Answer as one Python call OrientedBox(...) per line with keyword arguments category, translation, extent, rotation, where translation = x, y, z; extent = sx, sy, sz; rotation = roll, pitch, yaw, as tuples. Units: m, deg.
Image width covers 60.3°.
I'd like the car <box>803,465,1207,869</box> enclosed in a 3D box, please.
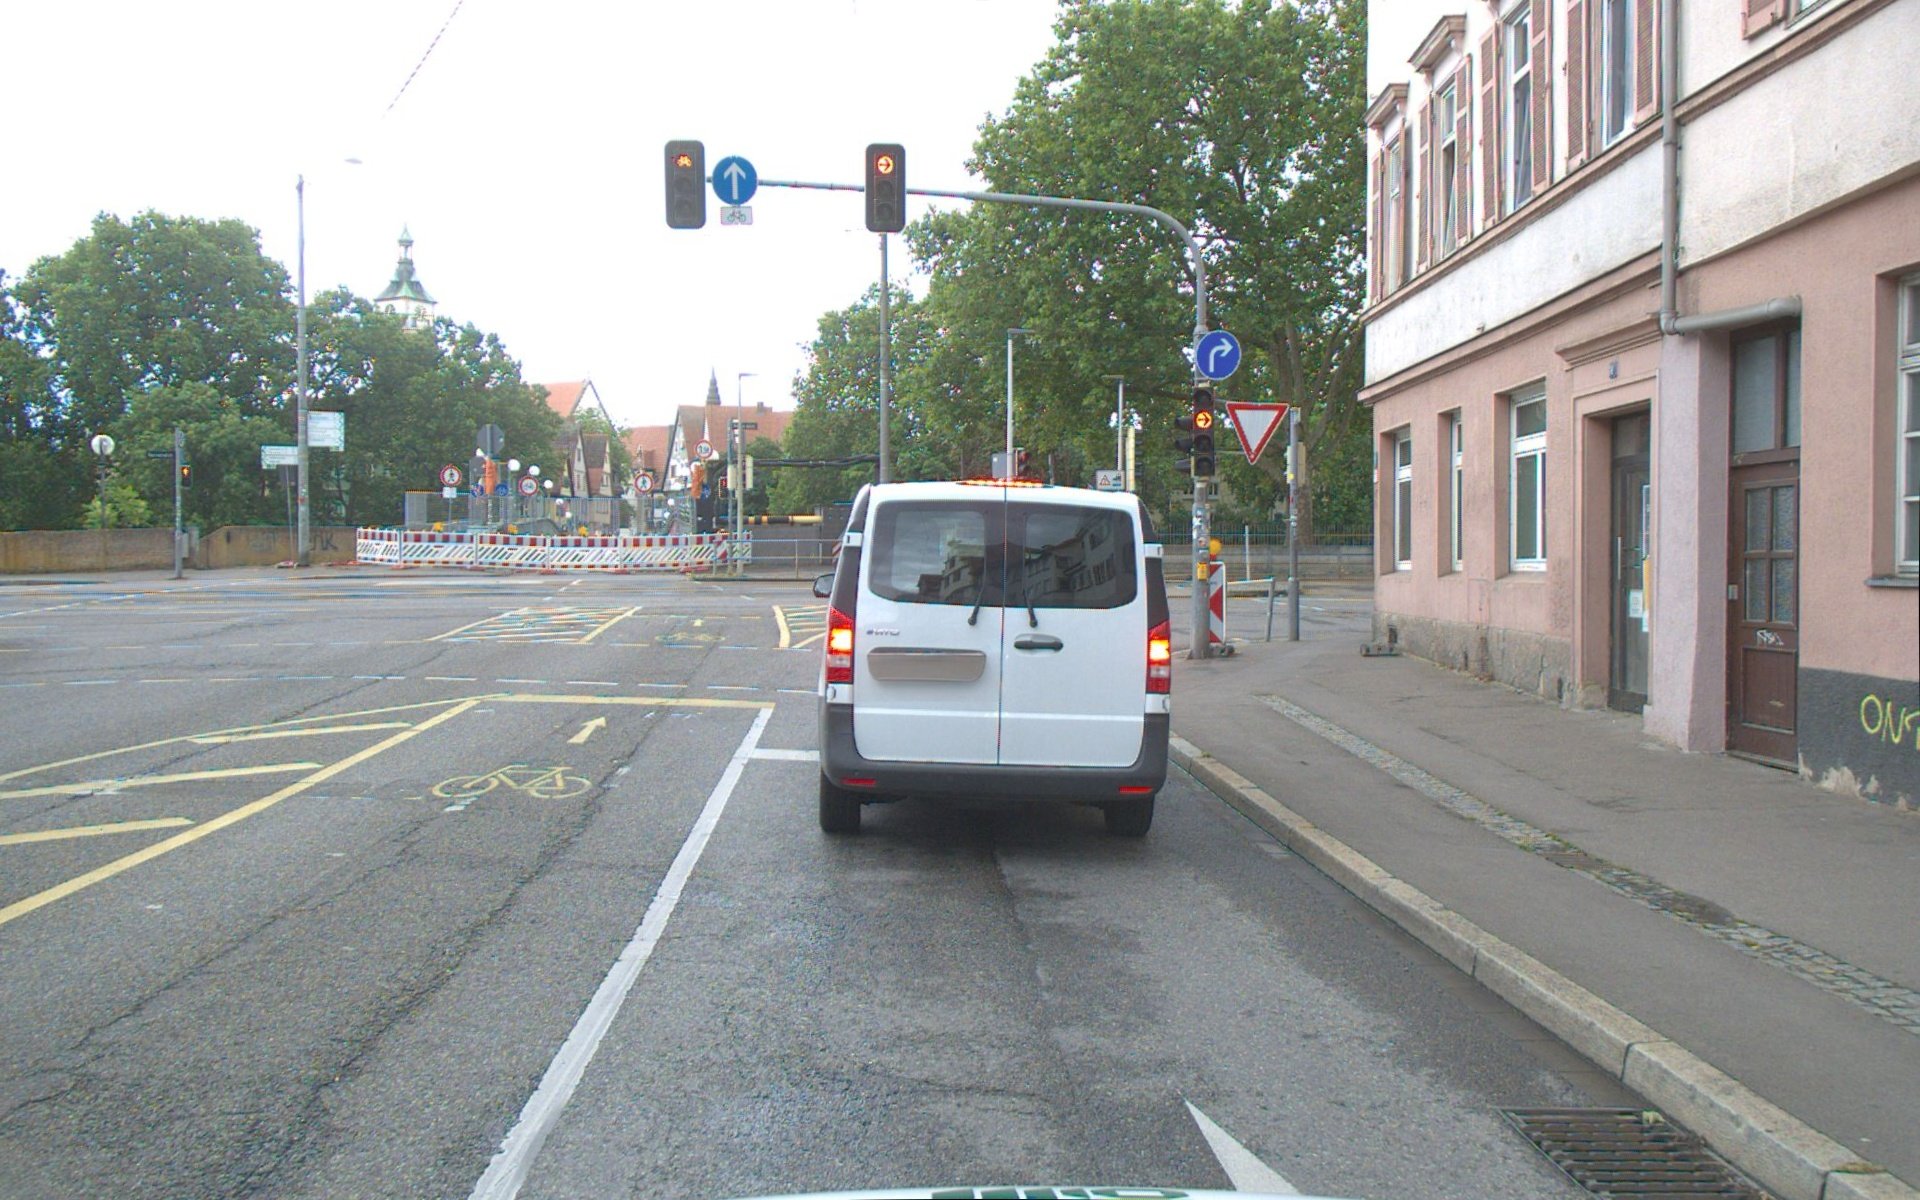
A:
OrientedBox(category="car", translation=(0.047, 0.225, 10.178), extent=(1.955, 1.956, 4.246), rotation=(1, 3, -5))
